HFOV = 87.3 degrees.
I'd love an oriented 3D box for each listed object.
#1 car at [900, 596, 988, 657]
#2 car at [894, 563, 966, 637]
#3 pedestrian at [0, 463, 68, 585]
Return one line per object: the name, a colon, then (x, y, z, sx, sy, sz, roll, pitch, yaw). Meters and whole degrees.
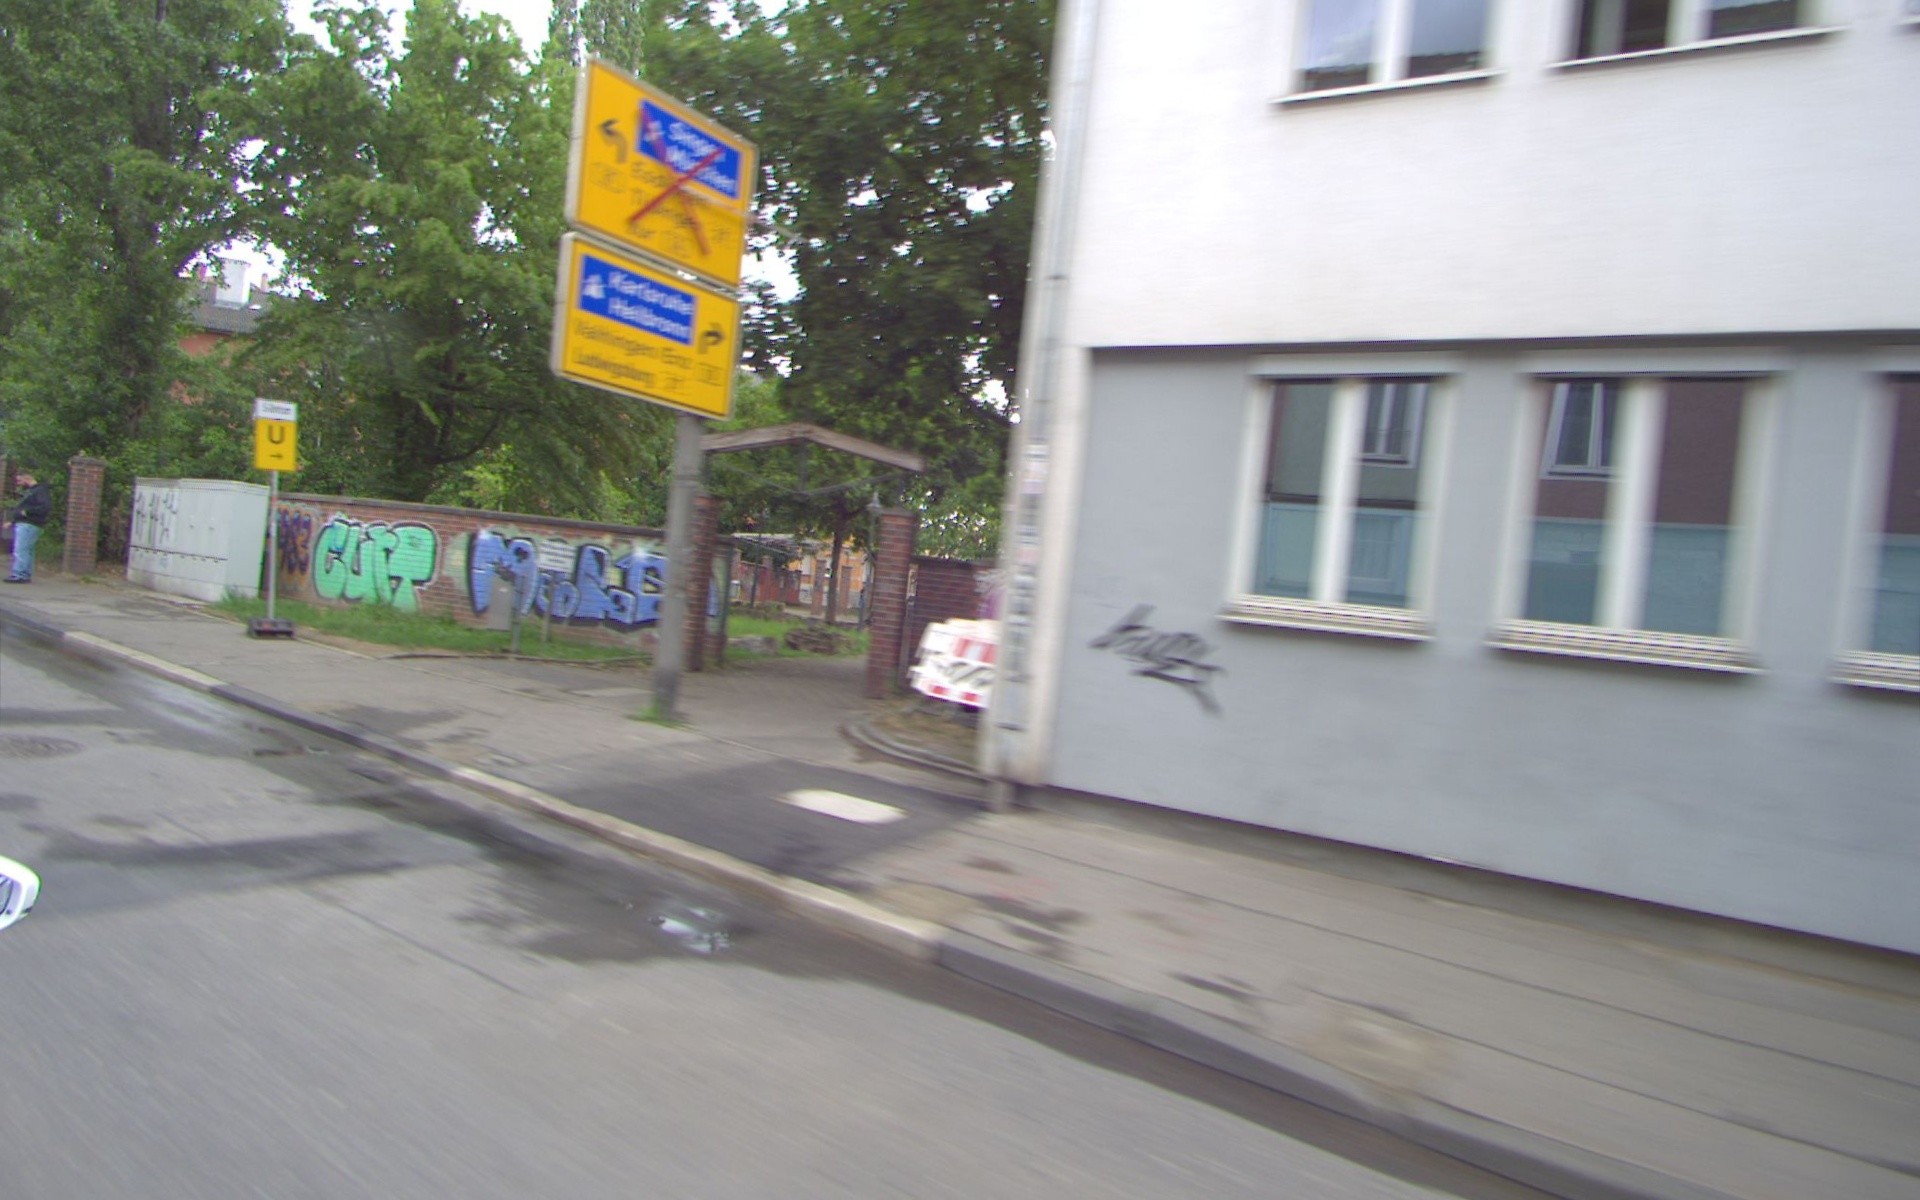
car: (-0.568, 0.727, 30.320, 1.876, 1.462, 4.420, 6, 0, -10)
car: (-1.073, 0.009, 39.059, 2.118, 2.461, 5.384, 6, 0, 3)
pedestrian: (-14.747, -1.198, 15.900, 0.808, 1.799, 0.583, 7, -2, 34)
